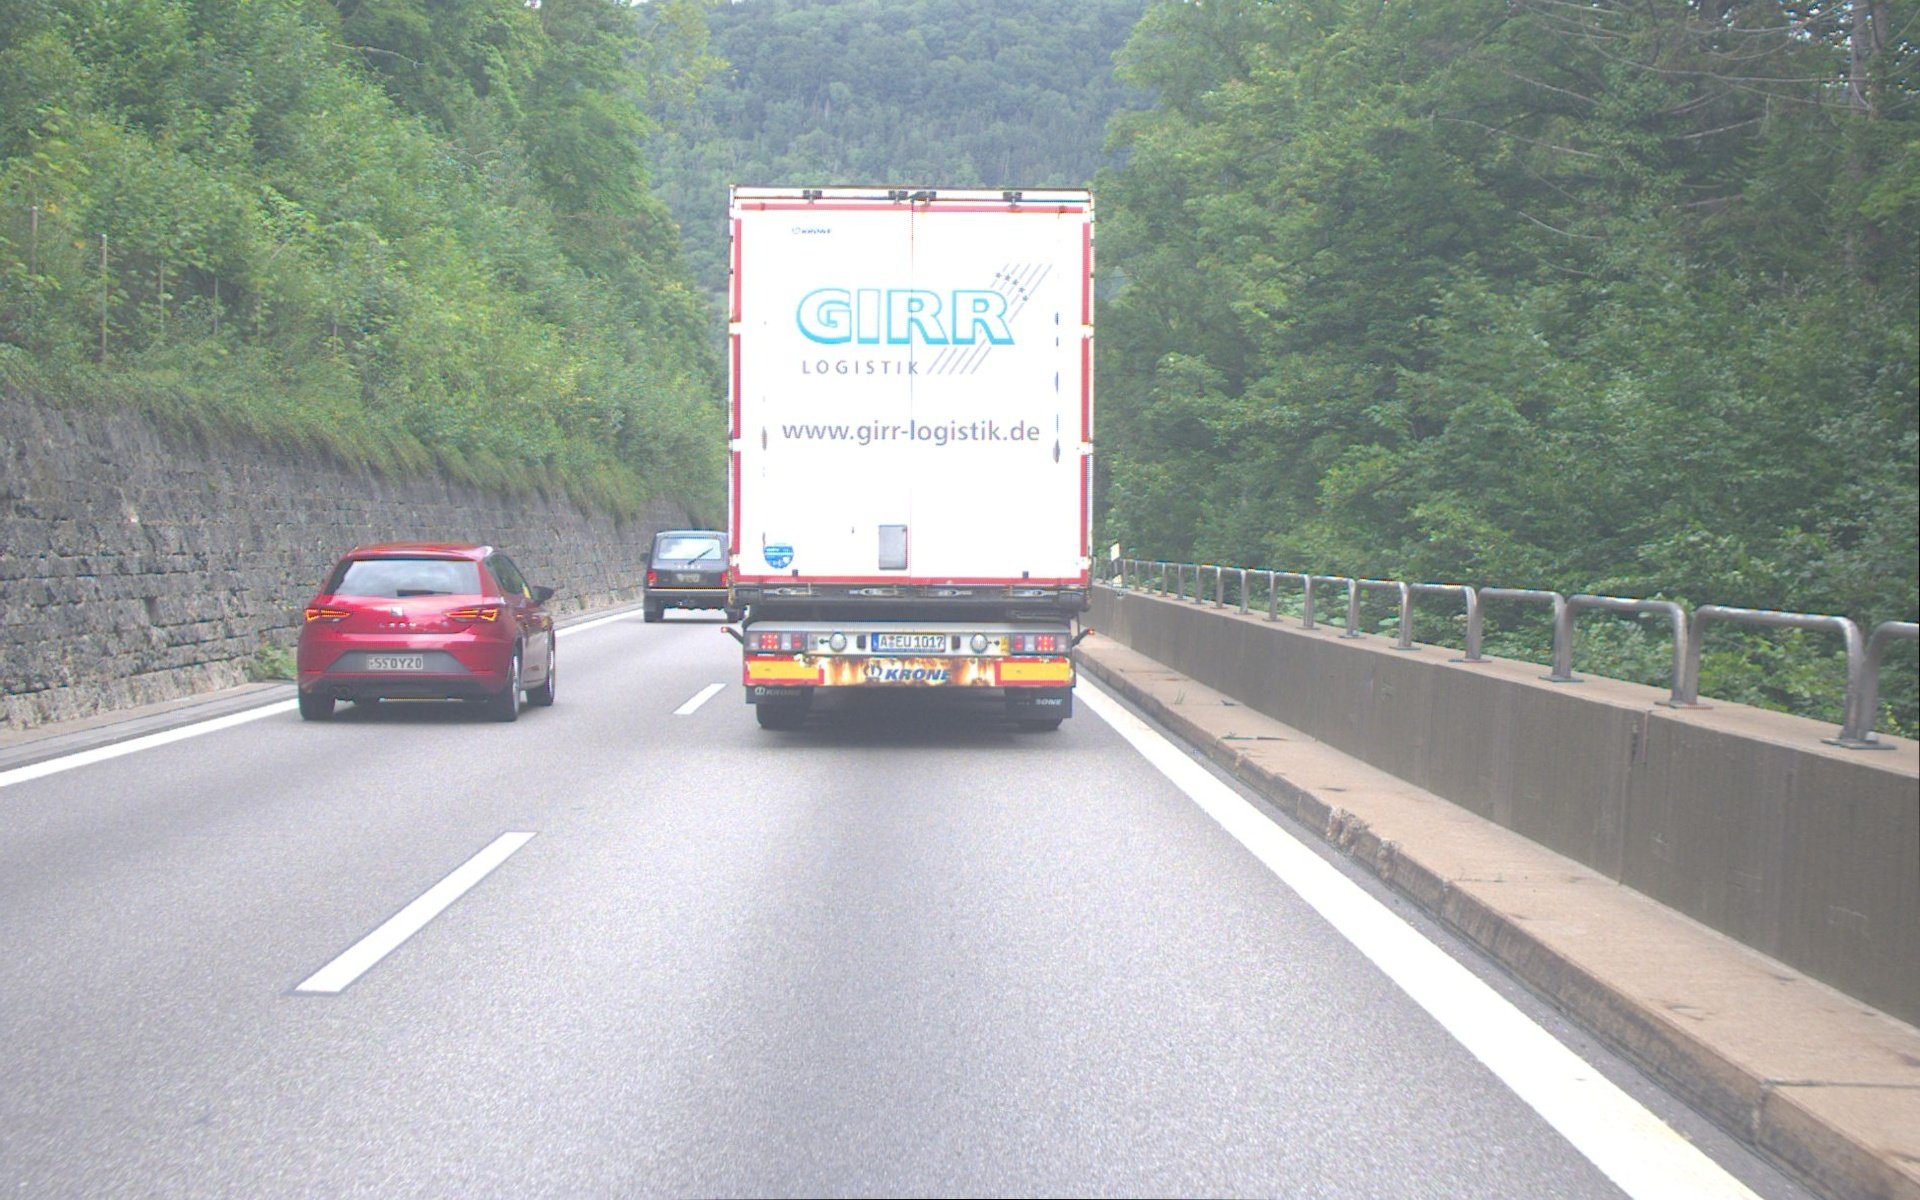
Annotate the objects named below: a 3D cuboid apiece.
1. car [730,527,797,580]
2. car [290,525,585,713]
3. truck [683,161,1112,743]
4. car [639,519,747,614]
[{"bbox_3d":[-5.541,-1.313,97.382,1.729,1.481,4.000,0,1,-1],"label":"car"},{"bbox_3d":[-4.308,0.125,28.963,1.766,1.455,4.411,0,1,1],"label":"car"},{"bbox_3d":[-0.418,-1.075,28.003,2.909,3.947,9.279,0,1,0],"label":"truck"},{"bbox_3d":[-4.730,-0.608,61.310,1.669,1.633,4.068,0,1,-1],"label":"car"}]
